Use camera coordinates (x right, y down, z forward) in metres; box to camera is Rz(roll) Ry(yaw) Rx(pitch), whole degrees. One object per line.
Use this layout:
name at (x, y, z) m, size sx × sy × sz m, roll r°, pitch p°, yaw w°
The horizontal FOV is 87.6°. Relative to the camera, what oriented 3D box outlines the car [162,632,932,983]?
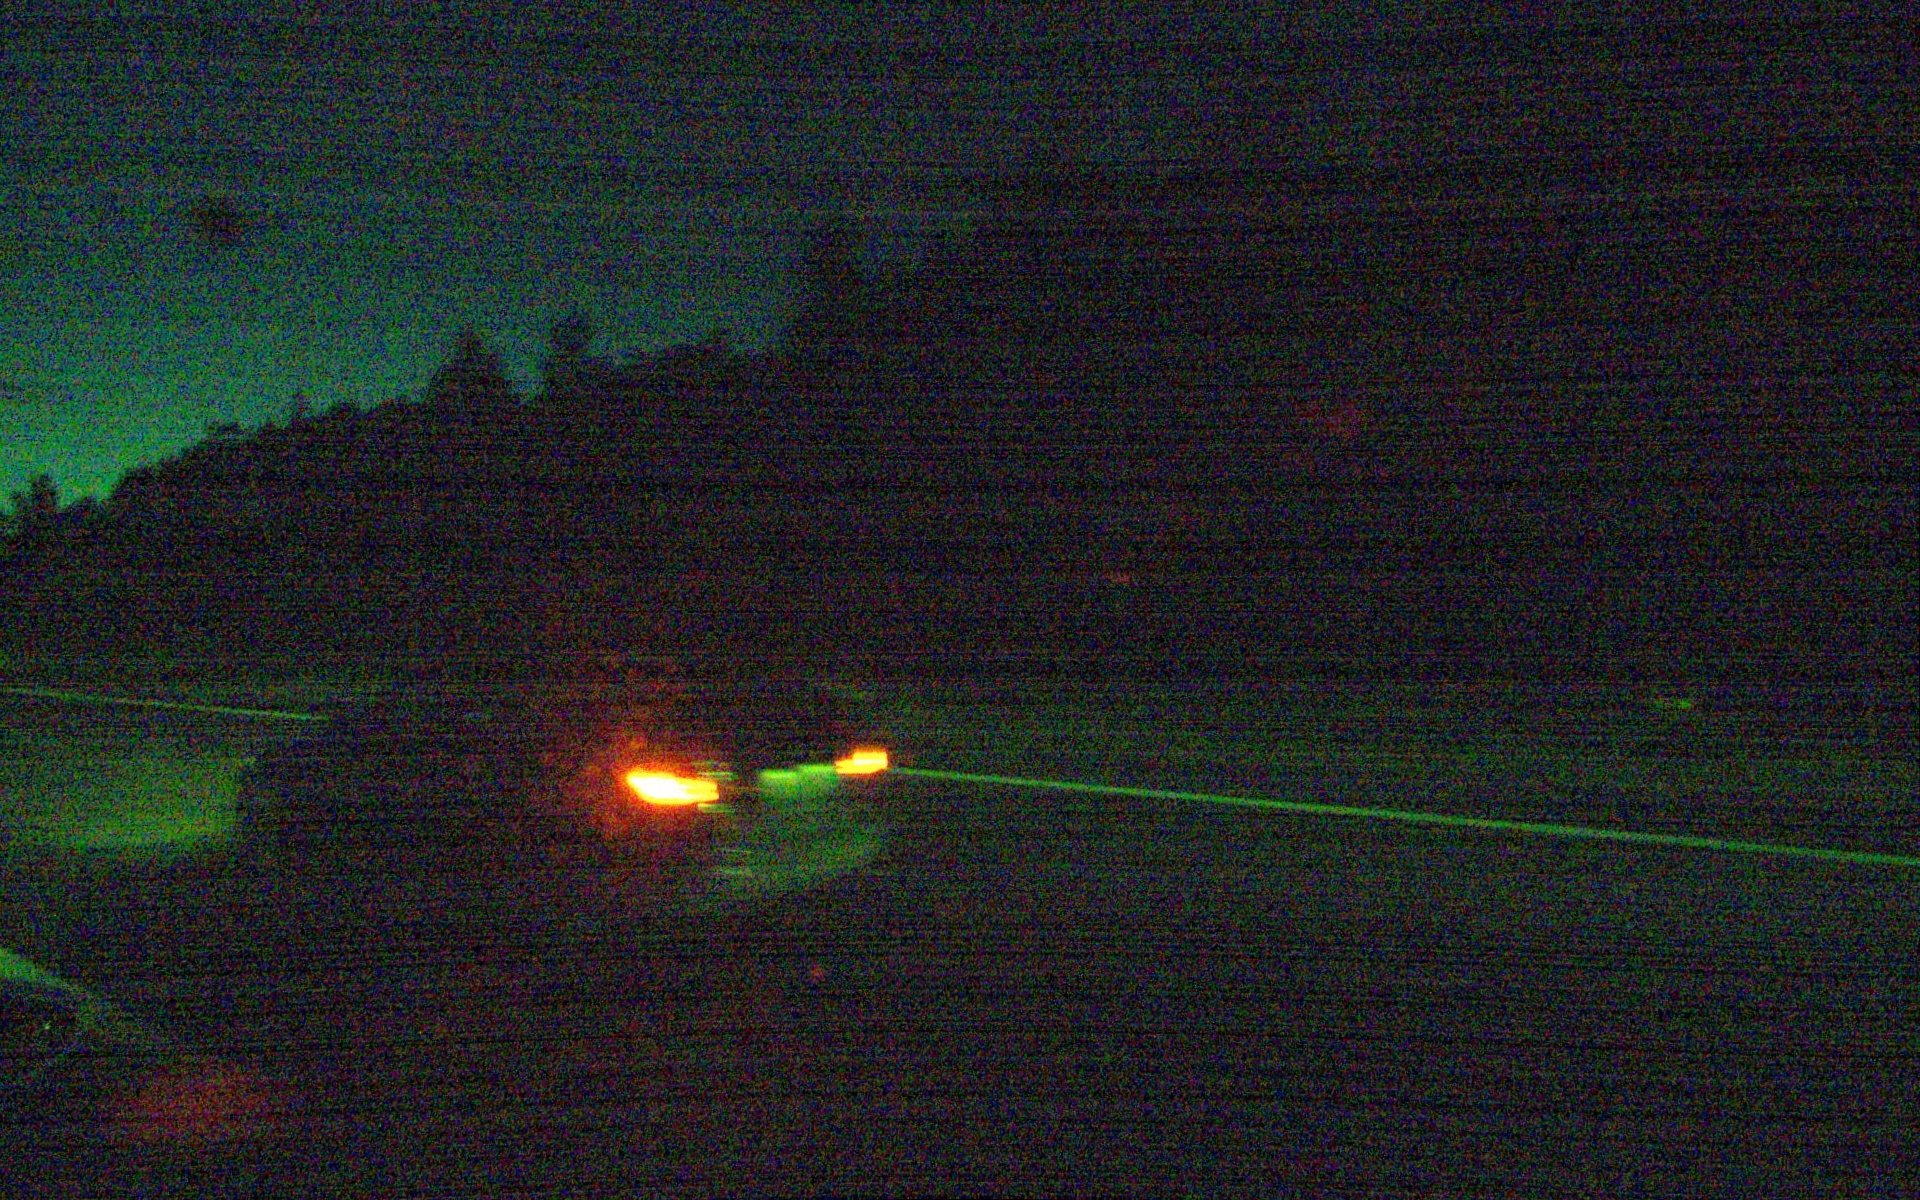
car at (-2.753, 0.913, 6.194) m, size 4.995 × 1.419 × 1.832 m, roll -1°, pitch -2°, yaw 32°
